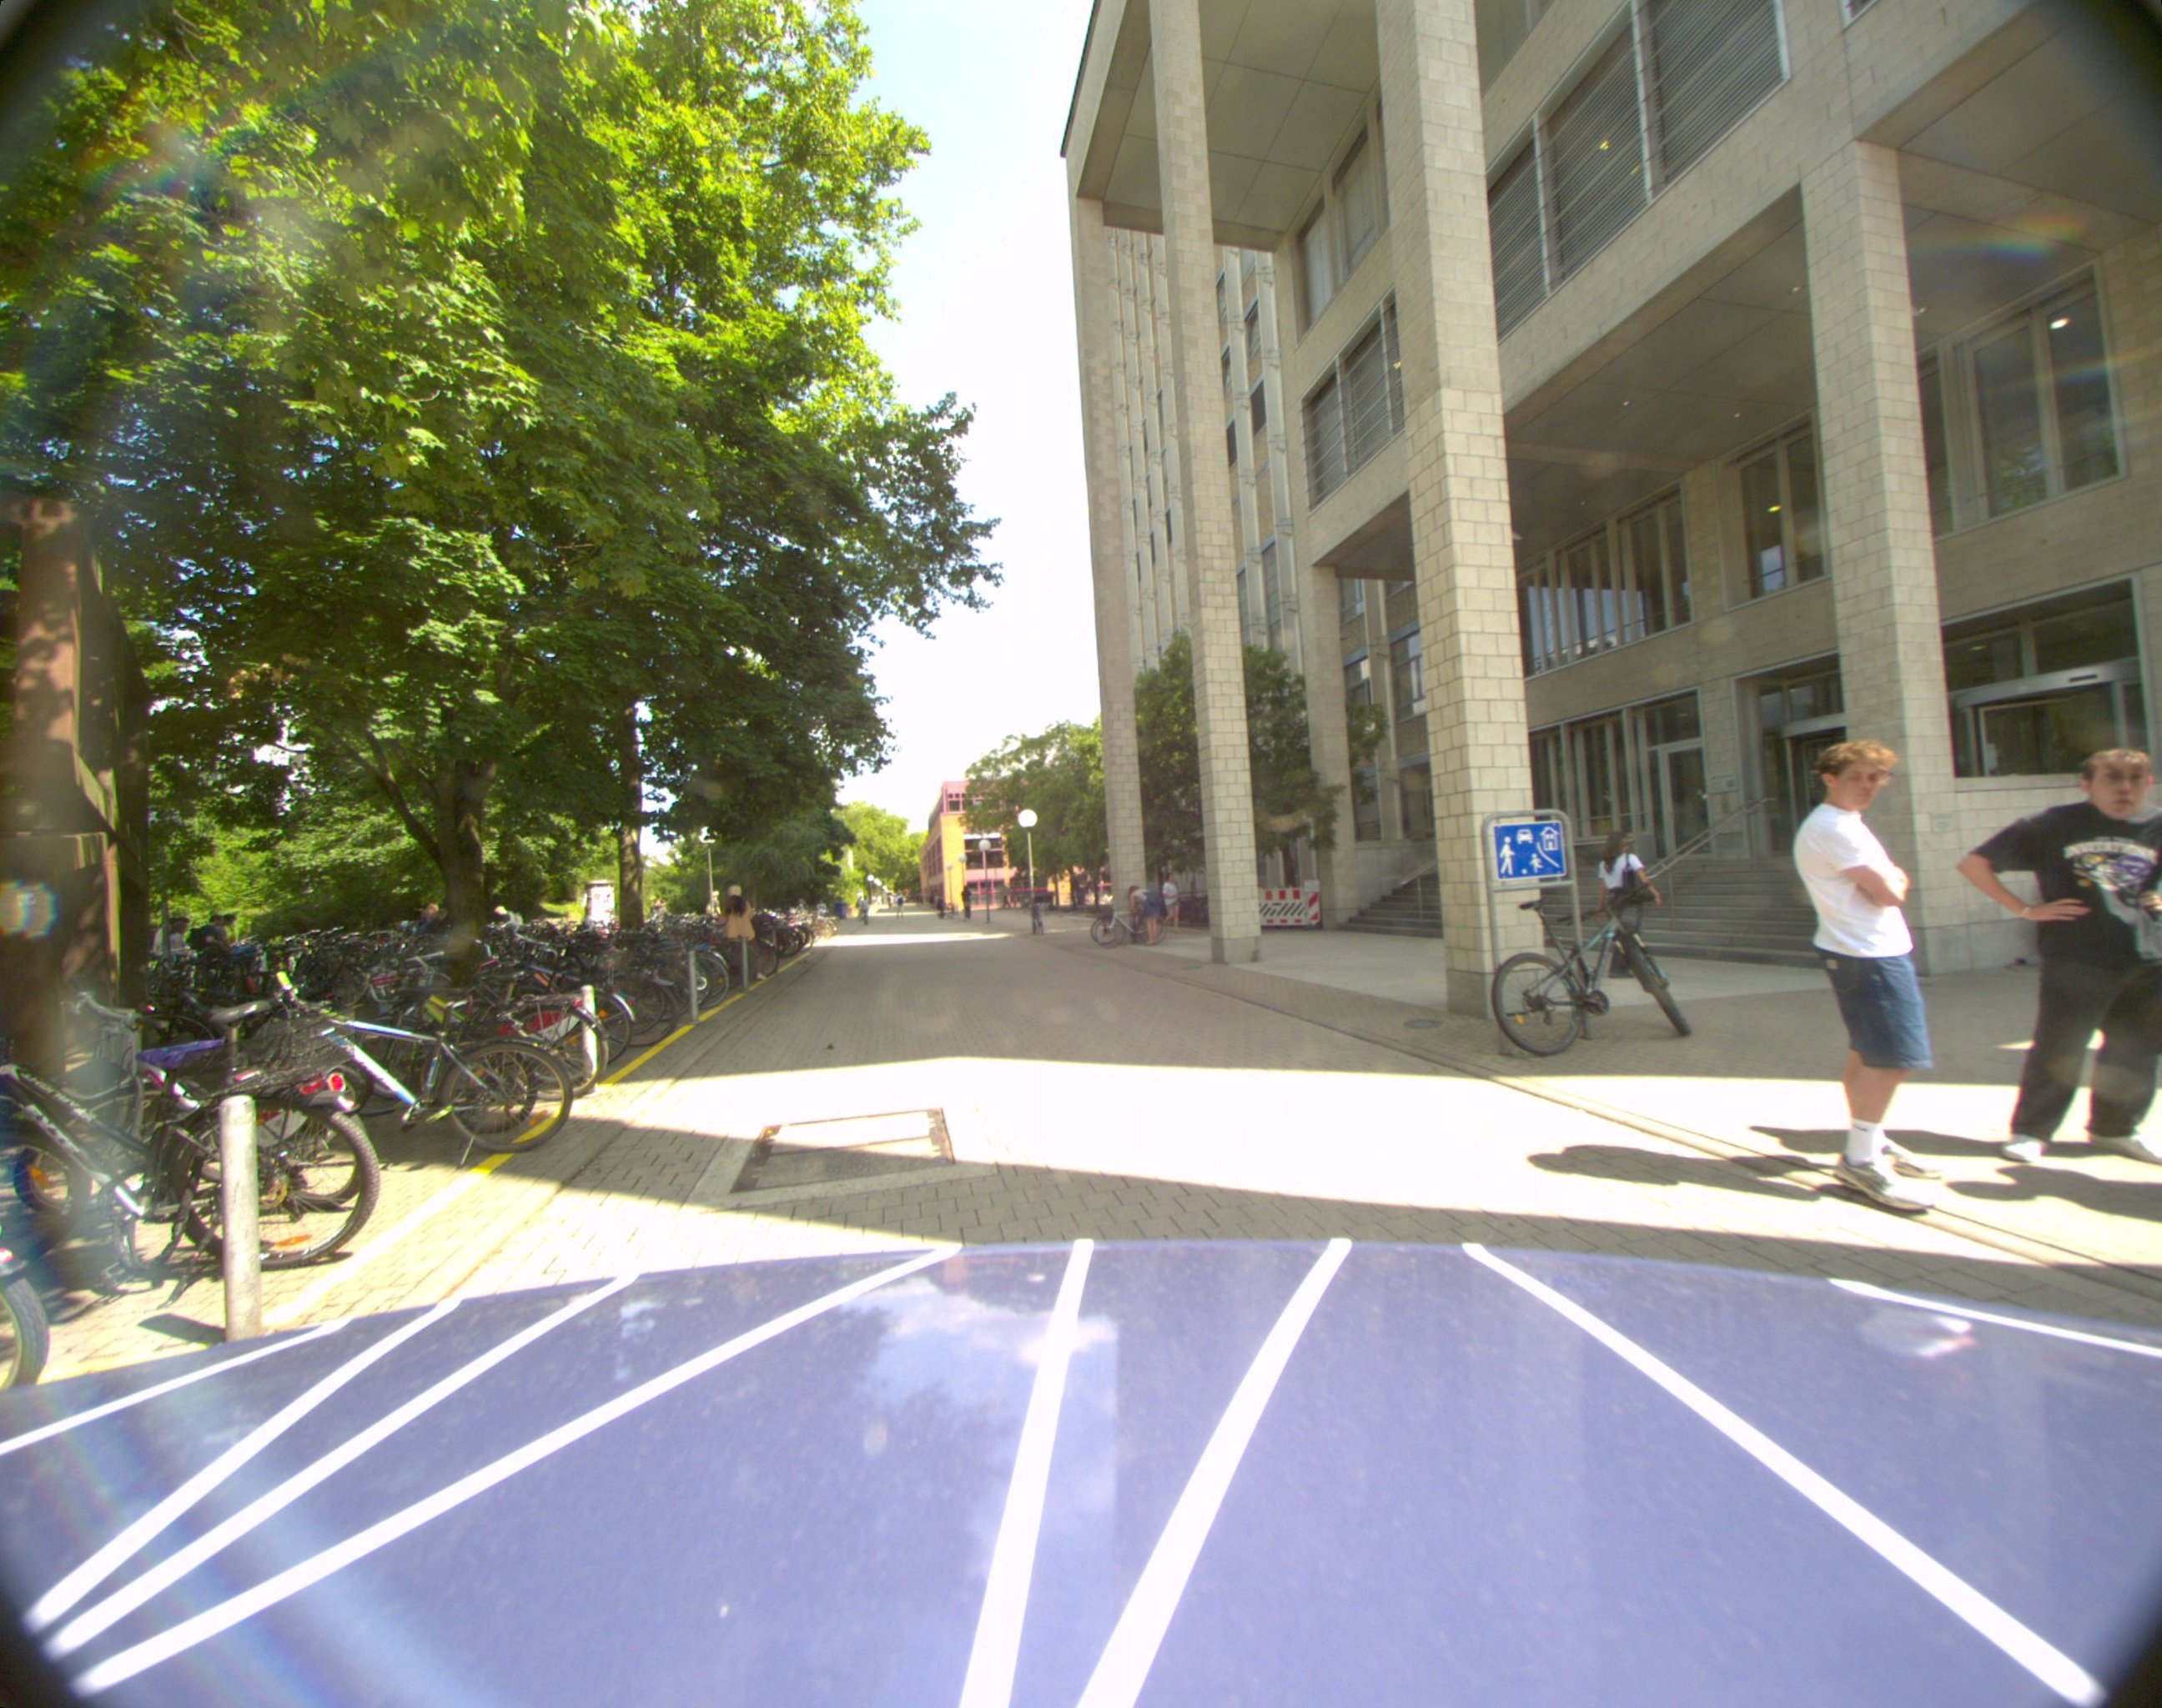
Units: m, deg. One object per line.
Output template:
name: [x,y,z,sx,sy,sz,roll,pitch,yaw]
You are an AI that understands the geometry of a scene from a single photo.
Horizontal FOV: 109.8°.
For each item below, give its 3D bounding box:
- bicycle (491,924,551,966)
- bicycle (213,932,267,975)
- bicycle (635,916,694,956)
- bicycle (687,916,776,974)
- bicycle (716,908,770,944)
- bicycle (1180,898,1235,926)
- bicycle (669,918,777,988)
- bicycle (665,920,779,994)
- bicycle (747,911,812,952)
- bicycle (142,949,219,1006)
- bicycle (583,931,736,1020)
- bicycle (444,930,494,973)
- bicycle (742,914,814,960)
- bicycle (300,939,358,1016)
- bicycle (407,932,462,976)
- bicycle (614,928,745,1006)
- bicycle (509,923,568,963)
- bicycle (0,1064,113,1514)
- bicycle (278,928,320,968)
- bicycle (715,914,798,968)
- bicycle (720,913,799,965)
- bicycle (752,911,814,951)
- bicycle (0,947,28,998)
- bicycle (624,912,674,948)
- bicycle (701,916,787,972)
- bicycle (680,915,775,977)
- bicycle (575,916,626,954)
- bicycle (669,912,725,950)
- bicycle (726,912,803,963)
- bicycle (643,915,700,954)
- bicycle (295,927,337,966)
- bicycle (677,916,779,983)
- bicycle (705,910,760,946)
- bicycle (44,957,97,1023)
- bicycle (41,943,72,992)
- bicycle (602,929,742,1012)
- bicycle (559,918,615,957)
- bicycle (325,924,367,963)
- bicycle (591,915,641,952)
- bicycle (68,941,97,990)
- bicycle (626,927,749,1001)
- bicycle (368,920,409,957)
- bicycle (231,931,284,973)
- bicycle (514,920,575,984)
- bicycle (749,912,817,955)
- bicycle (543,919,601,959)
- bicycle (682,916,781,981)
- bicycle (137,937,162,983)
bicycle: [-15.774,2.573,21.409,1.685,1.076,0.479,-5,-4,18]
bicycle: [-22.861,2.711,20.647,1.608,1.087,0.348,-4,0,19]
bicycle: [-12.309,2.434,22.457,1.685,1.076,0.479,-5,-4,18]
bicycle: [-7.542,1.944,16.459,1.689,1.122,0.454,-2,-4,-19]
bicycle: [-11.016,2.353,24.760,1.685,1.076,0.479,-5,-4,18]
bicycle: [3.845,1.745,23.253,0.644,0.755,1.986,-2,-1,-23]
bicycle: [-6.439,1.761,13.734,1.689,1.122,0.454,-2,-4,-19]
bicycle: [-6.082,1.734,12.947,1.689,1.122,0.454,-2,-4,-19]
bicycle: [-8.672,2.221,21.896,1.689,1.076,0.478,-2,-4,-19]
bicycle: [-17.032,2.305,14.361,1.899,0.973,0.479,-4,0,27]
bicycle: [-5.714,1.629,10.357,1.696,1.040,0.618,-3,-4,-6]
bicycle: [-16.423,2.620,20.375,1.684,1.076,0.480,-6,-4,30]
bicycle: [-7.872,2.150,19.784,1.689,1.076,0.478,-2,-4,-19]
bicycle: [-12.628,2.034,12.743,1.840,1.163,0.414,-4,-1,37]
bicycle: [-17.070,2.649,20.055,1.469,1.076,0.353,-4,-4,16]
bicycle: [-6.141,1.713,11.719,1.689,1.040,0.617,-2,-4,-19]
bicycle: [-15.620,2.561,21.870,1.685,1.076,0.479,-5,-4,18]
bicycle: [-3.657,1.251,1.856,1.490,1.134,0.561,-4,1,-16]
bicycle: [-22.233,2.674,21.602,1.607,1.087,0.348,-4,0,27]
bicycle: [-7.476,1.999,17.562,1.689,1.122,0.478,-2,-4,-19]
bicycle: [-7.643,2.018,18.124,1.689,1.122,0.478,-2,-4,-19]
bicycle: [-8.939,2.312,22.858,1.689,1.076,0.478,-2,-4,-19]
bicycle: [-24.770,2.729,17.582,1.607,1.087,0.349,-4,0,39]
bicycle: [-13.973,2.464,24.569,1.684,1.076,0.480,-5,-4,25]
bicycle: [-7.507,1.989,17.000,1.689,1.122,0.454,-2,-4,-19]
bicycle: [-7.147,1.839,15.412,1.689,1.122,0.454,-2,-4,-19]
bicycle: [-14.861,2.513,23.483,1.684,1.076,0.480,-5,-4,25]
bicycle: [-11.989,2.404,23.743,1.685,1.076,0.479,-5,-4,18]
bicycle: [-7.771,2.052,18.727,1.689,1.122,0.478,-2,-4,-19]
bicycle: [-12.396,2.429,22.996,1.685,1.076,0.479,-5,-4,18]
bicycle: [-22.075,2.664,21.912,1.607,1.087,0.348,-4,0,27]
bicycle: [-6.641,1.783,14.352,1.689,1.122,0.454,-2,-4,-19]
bicycle: [-11.157,2.365,24.303,1.685,1.076,0.479,-5,-4,18]
bicycle: [-17.651,2.347,13.291,1.899,0.973,0.479,-4,0,38]
bicycle: [-24.700,2.716,18.332,1.607,1.087,0.349,-4,0,39]
bicycle: [-5.896,1.663,11.042,1.689,1.040,0.617,-2,-4,-19]
bicycle: [-14.967,2.520,23.017,1.685,1.076,0.479,-5,-4,18]
bicycle: [-21.701,2.642,22.417,1.607,1.087,0.348,-4,0,27]
bicycle: [-14.658,2.498,23.935,1.684,1.076,0.480,-5,-4,25]
bicycle: [-24.440,2.711,18.603,1.607,1.087,0.349,-4,0,39]
bicycle: [-6.318,1.746,12.273,1.689,1.040,0.501,-2,-4,-19]
bicycle: [-21.399,2.616,23.478,1.607,1.087,0.348,-4,0,27]
bicycle: [-22.753,2.702,20.982,1.608,1.087,0.348,-4,0,19]
bicycle: [-10.659,1.921,15.070,1.840,1.163,0.414,-4,-1,37]
bicycle: [-8.299,2.209,21.199,1.690,1.076,0.478,-1,-4,-27]
bicycle: [-15.120,2.532,22.555,1.685,1.076,0.479,-5,-4,18]
bicycle: [-6.828,1.835,14.906,1.689,1.122,0.454,-2,-4,-19]
bicycle: [-23.668,2.673,19.306,1.607,1.087,0.349,-4,0,39]
